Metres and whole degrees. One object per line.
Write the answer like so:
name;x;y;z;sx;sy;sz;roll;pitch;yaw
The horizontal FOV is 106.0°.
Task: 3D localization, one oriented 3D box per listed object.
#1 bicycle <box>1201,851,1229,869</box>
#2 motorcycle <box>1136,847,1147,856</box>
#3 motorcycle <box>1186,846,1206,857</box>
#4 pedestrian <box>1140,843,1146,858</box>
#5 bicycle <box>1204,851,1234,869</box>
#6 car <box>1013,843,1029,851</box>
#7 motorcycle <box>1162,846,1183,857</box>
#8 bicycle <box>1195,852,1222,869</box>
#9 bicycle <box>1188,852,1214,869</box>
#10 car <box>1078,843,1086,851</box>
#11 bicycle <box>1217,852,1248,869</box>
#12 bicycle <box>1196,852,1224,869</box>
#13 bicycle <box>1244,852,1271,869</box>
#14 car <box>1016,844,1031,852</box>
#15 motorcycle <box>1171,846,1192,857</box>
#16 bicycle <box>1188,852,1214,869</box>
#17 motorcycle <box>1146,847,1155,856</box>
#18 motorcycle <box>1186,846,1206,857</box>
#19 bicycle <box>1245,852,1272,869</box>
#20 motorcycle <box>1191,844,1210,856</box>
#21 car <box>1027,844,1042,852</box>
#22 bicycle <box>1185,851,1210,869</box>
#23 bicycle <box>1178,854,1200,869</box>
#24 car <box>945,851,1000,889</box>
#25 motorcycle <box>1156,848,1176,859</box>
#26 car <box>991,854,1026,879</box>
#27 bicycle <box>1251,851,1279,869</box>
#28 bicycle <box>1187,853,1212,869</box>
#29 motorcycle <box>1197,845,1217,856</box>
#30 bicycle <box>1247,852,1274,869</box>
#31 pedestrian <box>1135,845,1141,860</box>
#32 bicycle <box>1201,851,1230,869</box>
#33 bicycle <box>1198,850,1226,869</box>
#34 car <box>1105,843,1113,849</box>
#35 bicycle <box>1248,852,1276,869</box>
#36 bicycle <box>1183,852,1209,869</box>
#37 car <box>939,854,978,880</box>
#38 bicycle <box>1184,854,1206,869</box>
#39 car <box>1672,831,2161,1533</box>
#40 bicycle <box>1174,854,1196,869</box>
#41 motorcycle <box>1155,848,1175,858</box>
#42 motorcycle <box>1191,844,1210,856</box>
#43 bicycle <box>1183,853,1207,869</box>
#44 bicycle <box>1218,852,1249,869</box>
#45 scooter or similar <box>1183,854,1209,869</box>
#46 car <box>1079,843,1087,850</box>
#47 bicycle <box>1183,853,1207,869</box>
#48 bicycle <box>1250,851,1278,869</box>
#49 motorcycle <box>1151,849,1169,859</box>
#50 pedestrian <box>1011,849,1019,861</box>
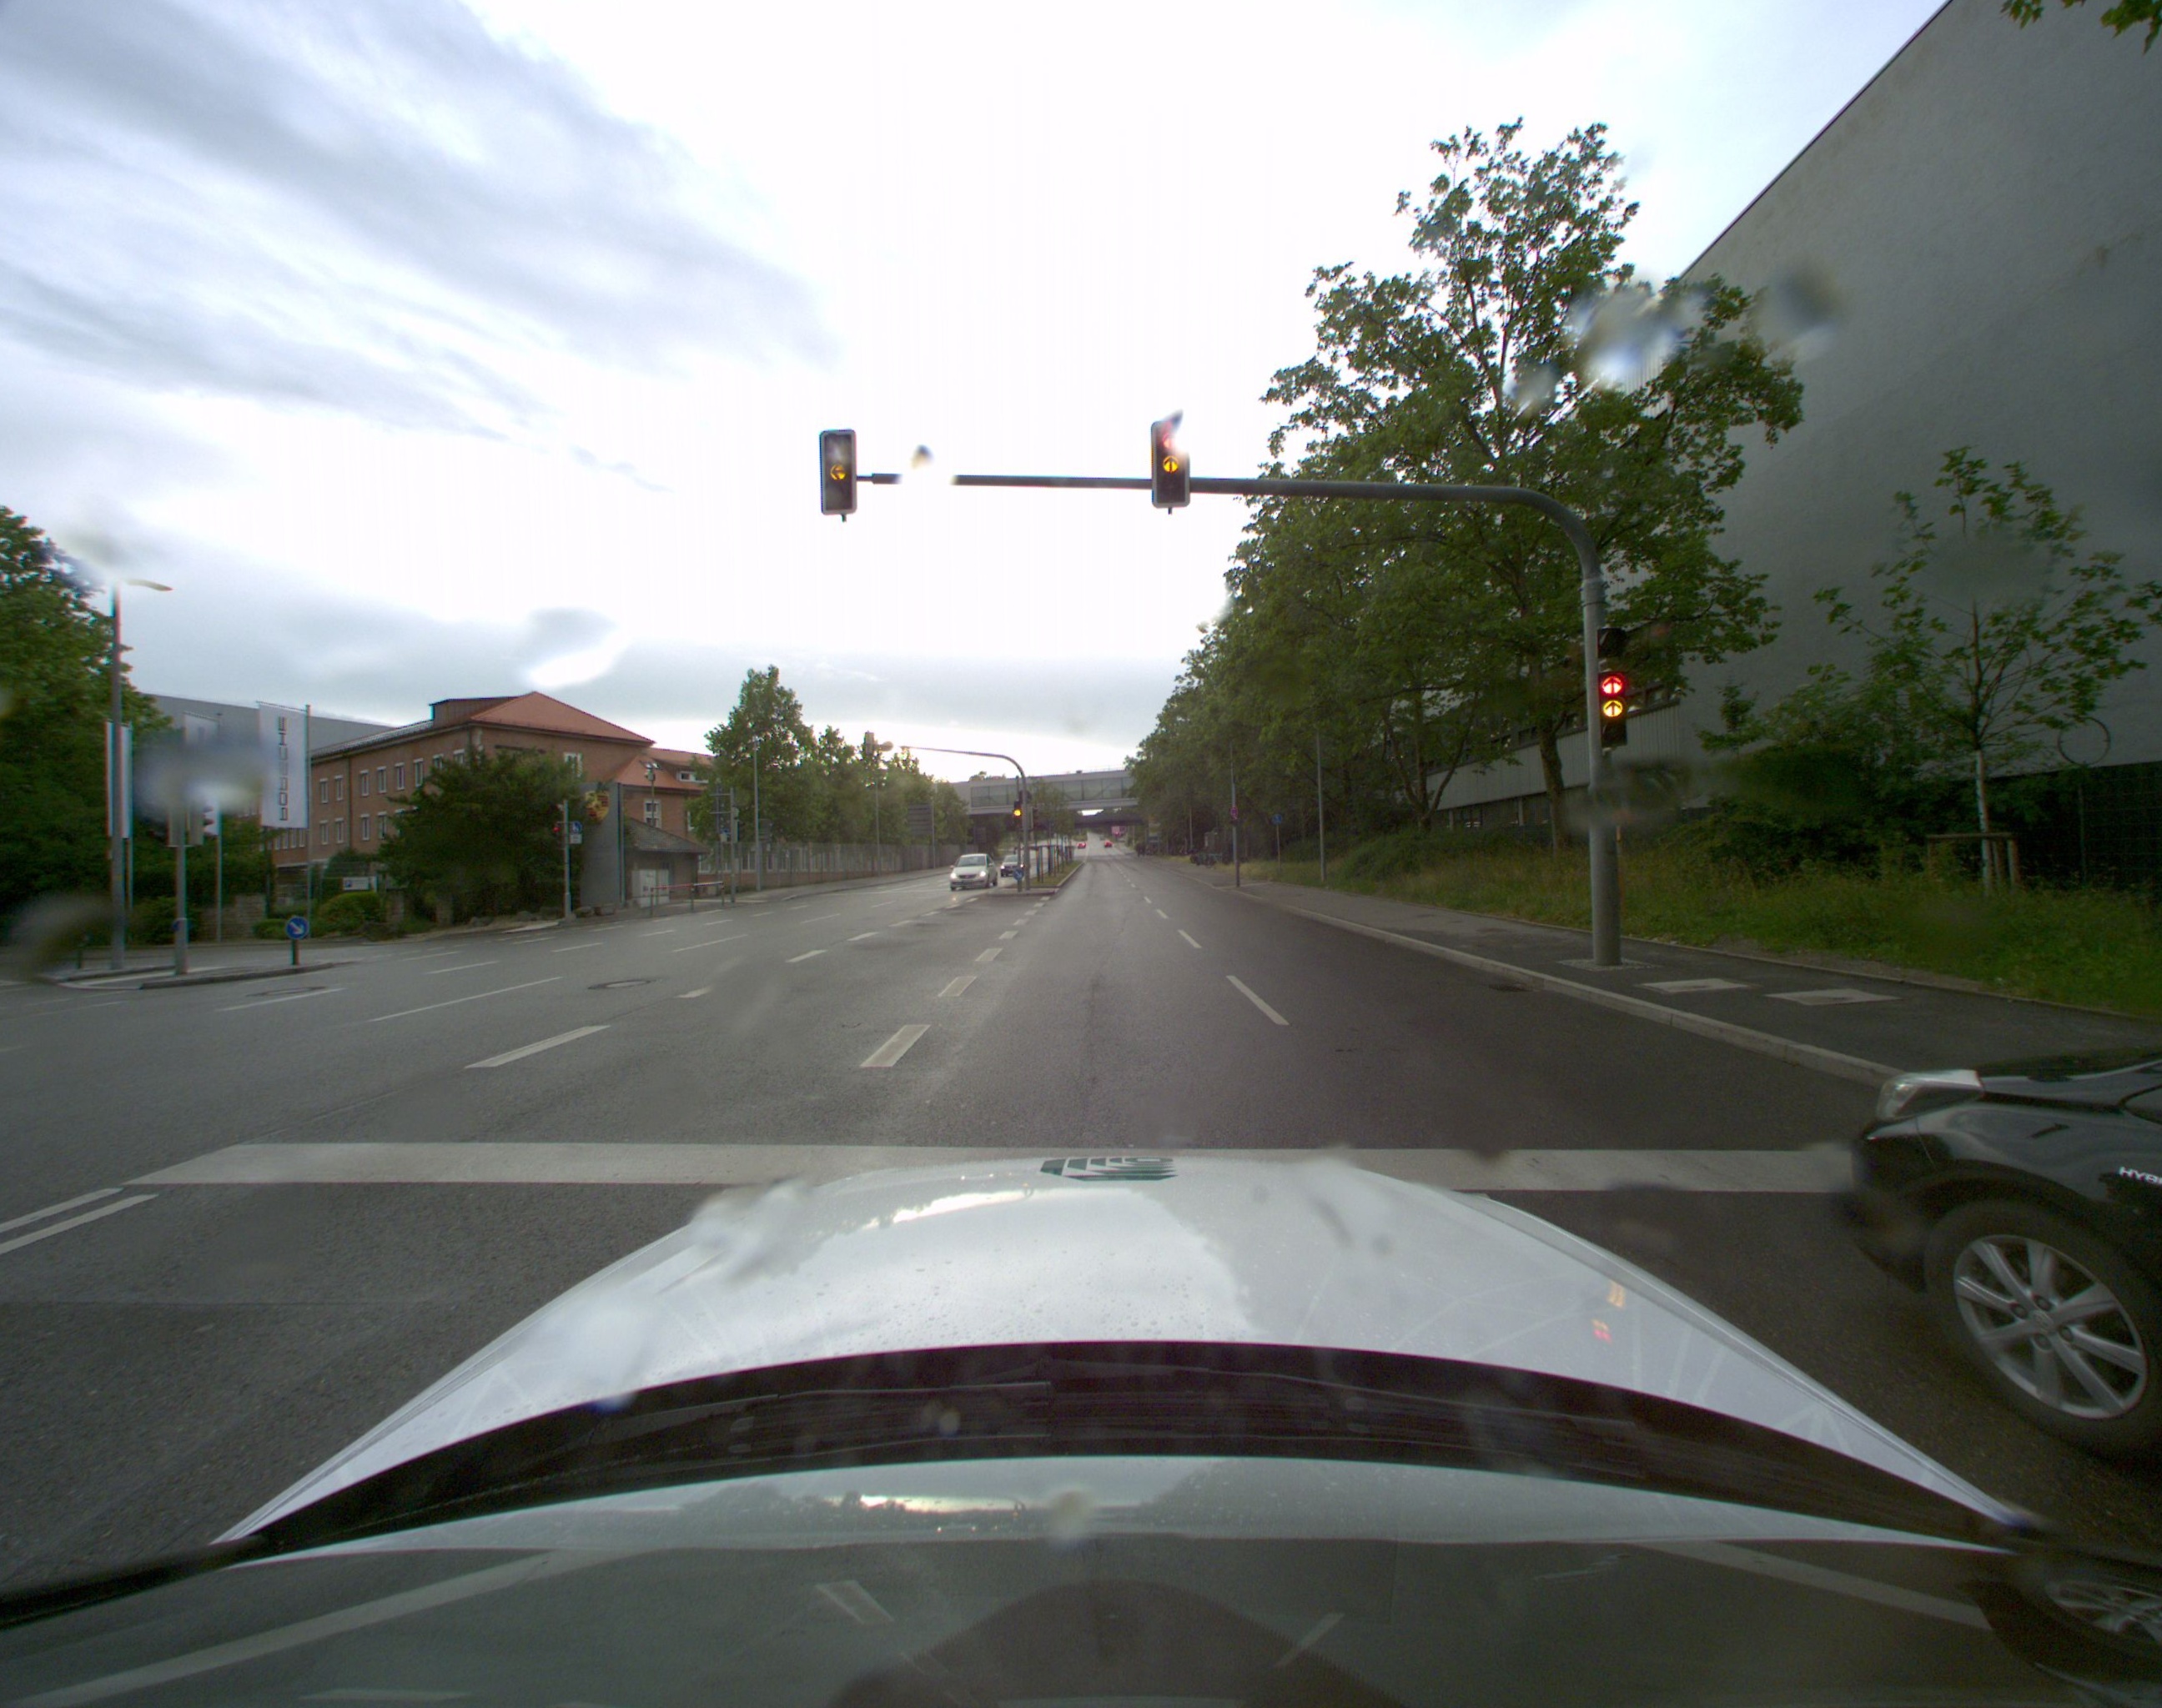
bicycle;9.642;0.444;58.629;1.982;1.242;0.541;0;-1;2
motorcycle;9.308;-0.407;125.379;0.792;1.311;2.363;-3;0;-16
motorcycle;14.289;-0.308;100.915;2.354;1.202;0.724;-3;0;9
pedestrian;8.640;-0.497;113.559;0.619;2.013;0.606;-3;0;2
bicycle;9.471;0.410;55.818;1.982;1.216;0.541;0;-1;2
car;-15.019;-1.707;204.154;2.011;2.014;3.952;1;-1;-42
motorcycle;10.678;-0.261;94.979;2.354;1.202;0.724;-3;0;9
bicycle;9.643;0.495;61.725;1.982;1.242;0.541;0;-1;2
bicycle;9.593;0.516;65.008;1.982;1.328;0.576;0;-1;2
car;0.260;-1.774;206.969;1.986;1.762;4.002;0;-1;2
bicycle;10.104;0.452;54.342;1.982;1.095;0.541;0;-1;2
bicycle;9.617;0.479;60.776;1.982;1.242;0.541;0;-1;2
bicycle;13.814;0.527;63.757;1.982;1.328;0.576;0;-1;2
car;-15.391;-1.530;219.030;2.011;2.014;3.952;1;-1;-42
motorcycle;11.979;-0.268;96.713;2.354;1.202;0.724;-3;0;9
bicycle;9.291;0.515;63.108;1.982;1.242;0.541;0;-1;2
motorcycle;10.372;-0.330;122.078;0.789;1.311;2.371;-3;0;-7
motorcycle;14.153;-0.295;100.137;2.354;1.202;0.724;-3;0;9
bicycle;13.781;0.515;63.088;1.982;1.328;0.576;0;-1;2
motorcycle;15.861;-0.499;108.105;2.354;1.476;0.724;-3;0;9
car;-12.067;-1.546;212.204;2.011;2.014;3.952;1;-1;-42
bicycle;9.621;0.494;67.496;1.982;1.430;0.723;0;-1;2
bicycle;9.819;0.657;74.307;1.955;1.328;0.654;0;-1;2
car;-5.019;0.698;38.121;1.870;1.624;3.780;-2;0;2
motorcycle;10.610;-0.099;101.488;2.354;1.202;0.724;-3;0;9
car;-4.936;0.819;55.849;1.870;1.624;3.780;-2;0;2
bicycle;13.485;0.458;59.688;1.982;1.328;0.576;0;-1;2
bicycle;9.950;0.561;68.342;1.982;1.328;0.576;0;-1;2
motorcycle;15.237;-0.373;98.772;2.354;1.202;0.724;-3;0;9
bicycle;13.746;0.505;62.440;1.982;1.328;0.576;0;-1;2
pedestrian;7.931;-0.199;113.557;0.619;2.013;0.606;-3;0;2
bicycle;9.609;0.439;58.033;1.982;1.233;0.541;0;-1;2
bicycle;9.689;0.402;60.083;1.982;1.340;0.541;0;-1;2
car;7.061;-2.021;203.178;1.868;1.497;4.070;0;-1;2
bicycle;13.724;0.494;61.776;1.982;1.328;0.576;0;-1;2
bicycle;9.297;0.527;65.825;1.982;1.328;0.576;0;-1;2
car;-8.186;0.840;54.590;1.870;1.624;3.780;-2;0;2
bicycle;10.621;0.687;75.791;1.955;1.328;0.654;0;-1;2
car;3.297;0.697;1.118;1.871;1.494;4.073;-3;0;-2
bicycle;9.396;0.641;73.512;1.955;1.328;0.654;0;-1;2
motorcycle;10.315;-0.121;99.721;2.354;1.202;0.724;-3;0;9
motorcycle;15.716;-0.475;106.873;2.354;1.476;0.724;-3;0;9
bicycle;9.646;0.582;69.060;1.982;1.328;0.576;0;-1;2
bicycle;10.084;0.442;53.774;1.982;1.095;0.541;0;-1;2
scooter or similar;9.022;0.563;63.907;1.982;1.138;0.541;0;-1;2
car;0.486;-1.944;211.476;1.877;1.762;3.970;0;-1;2
bicycle;9.827;0.592;70.294;1.953;1.328;0.576;0;-1;2
bicycle;13.718;0.481;61.011;1.982;1.328;0.576;0;-1;2
motorcycle;10.495;0.008;108.205;2.354;1.202;0.795;-3;0;9
pedestrian;-11.182;0.166;137.827;0.865;2.004;0.858;-3;0;17
